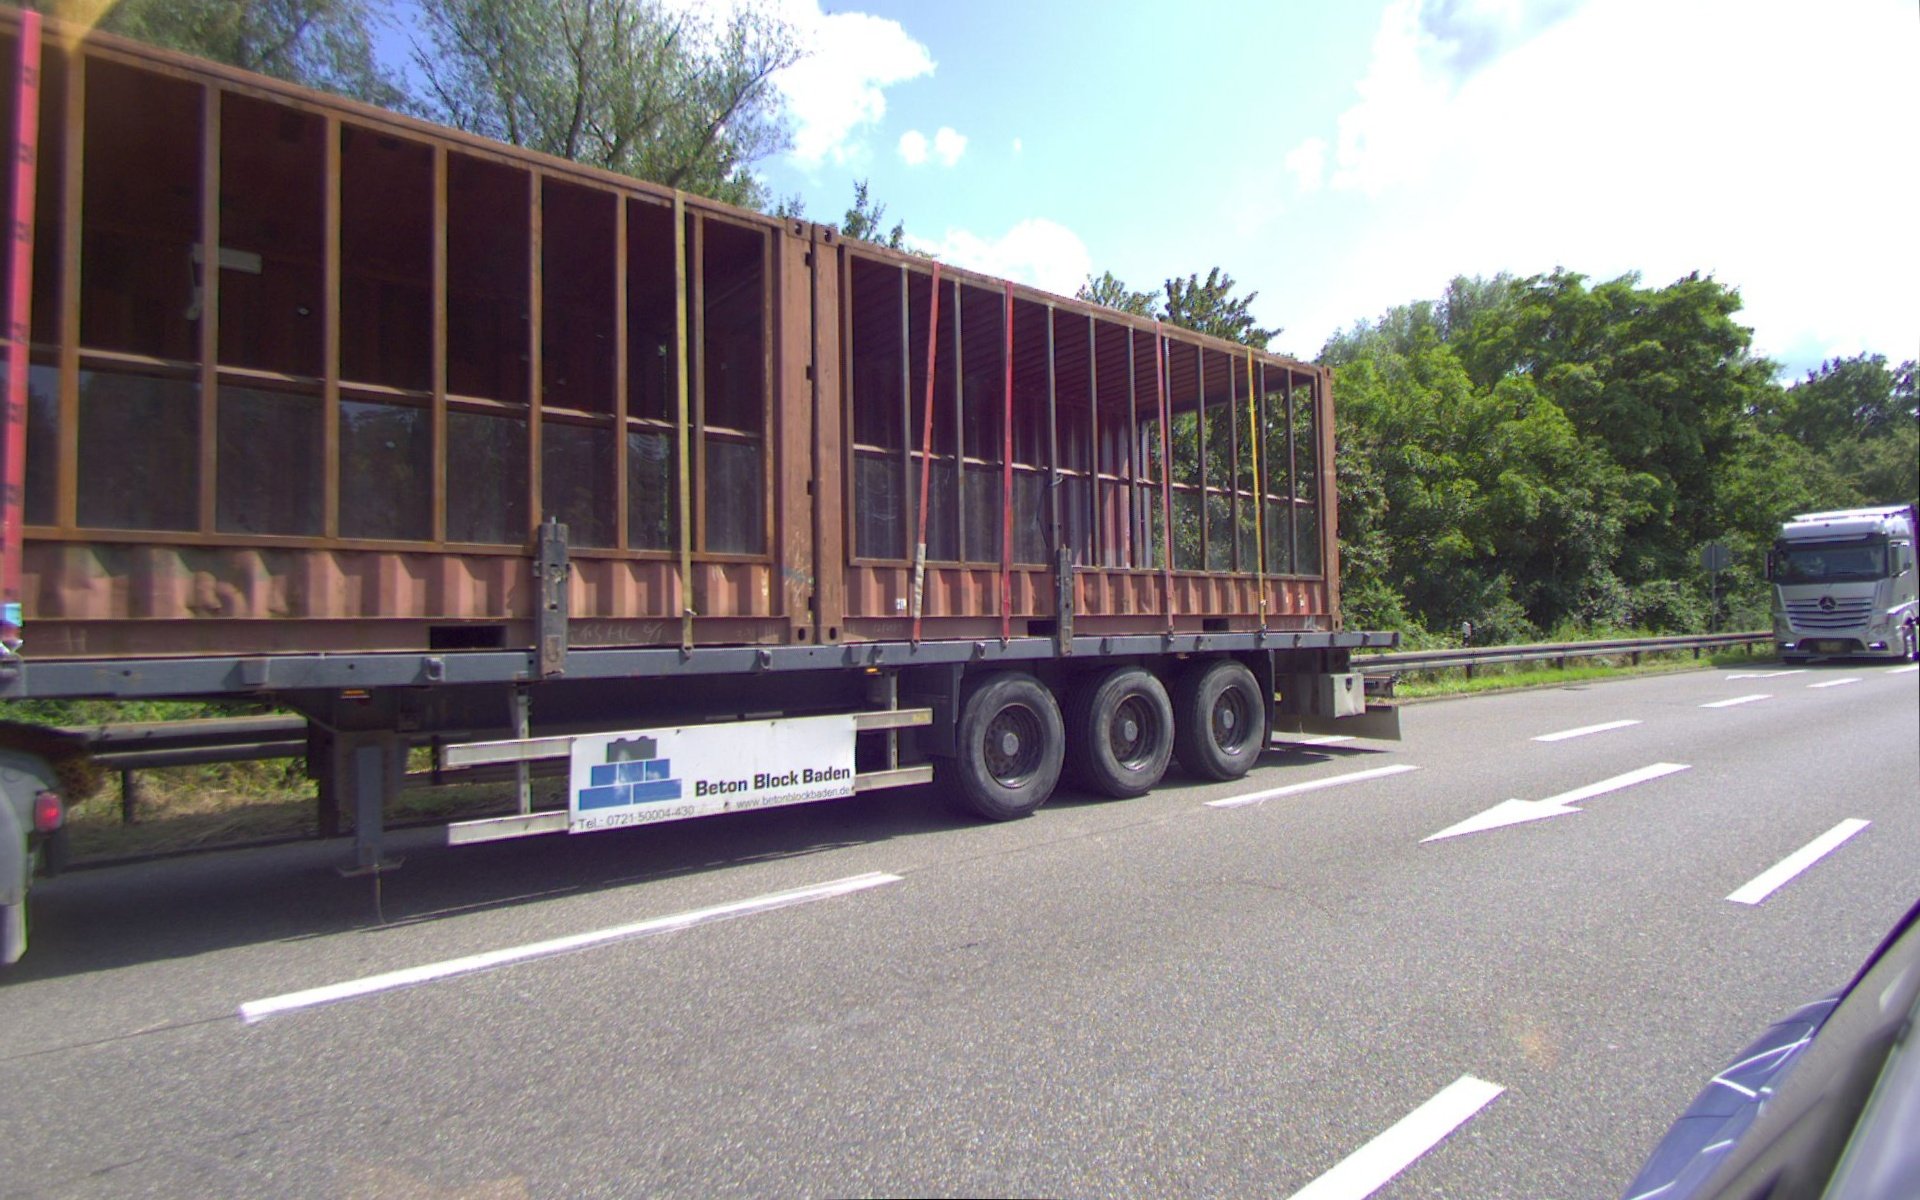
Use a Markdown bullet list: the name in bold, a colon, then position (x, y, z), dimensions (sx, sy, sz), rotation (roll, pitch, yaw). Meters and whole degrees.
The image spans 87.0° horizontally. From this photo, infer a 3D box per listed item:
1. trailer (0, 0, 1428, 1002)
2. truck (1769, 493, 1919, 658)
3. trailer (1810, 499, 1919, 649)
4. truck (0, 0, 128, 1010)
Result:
- **trailer**: position (-1.320, -0.419, 7.373), dimensions (13.596, 3.942, 2.644), rotation (0, -3, -39)
- **truck**: position (24.508, -0.516, 26.988), dimensions (6.691, 3.895, 2.777), rotation (1, -2, -36)
- **trailer**: position (29.426, -0.632, 30.610), dimensions (12.088, 3.900, 2.779), rotation (0, -2, -36)
- **truck**: position (-6.426, -0.413, 3.230), dimensions (5.772, 3.955, 2.873), rotation (0, -3, -40)
